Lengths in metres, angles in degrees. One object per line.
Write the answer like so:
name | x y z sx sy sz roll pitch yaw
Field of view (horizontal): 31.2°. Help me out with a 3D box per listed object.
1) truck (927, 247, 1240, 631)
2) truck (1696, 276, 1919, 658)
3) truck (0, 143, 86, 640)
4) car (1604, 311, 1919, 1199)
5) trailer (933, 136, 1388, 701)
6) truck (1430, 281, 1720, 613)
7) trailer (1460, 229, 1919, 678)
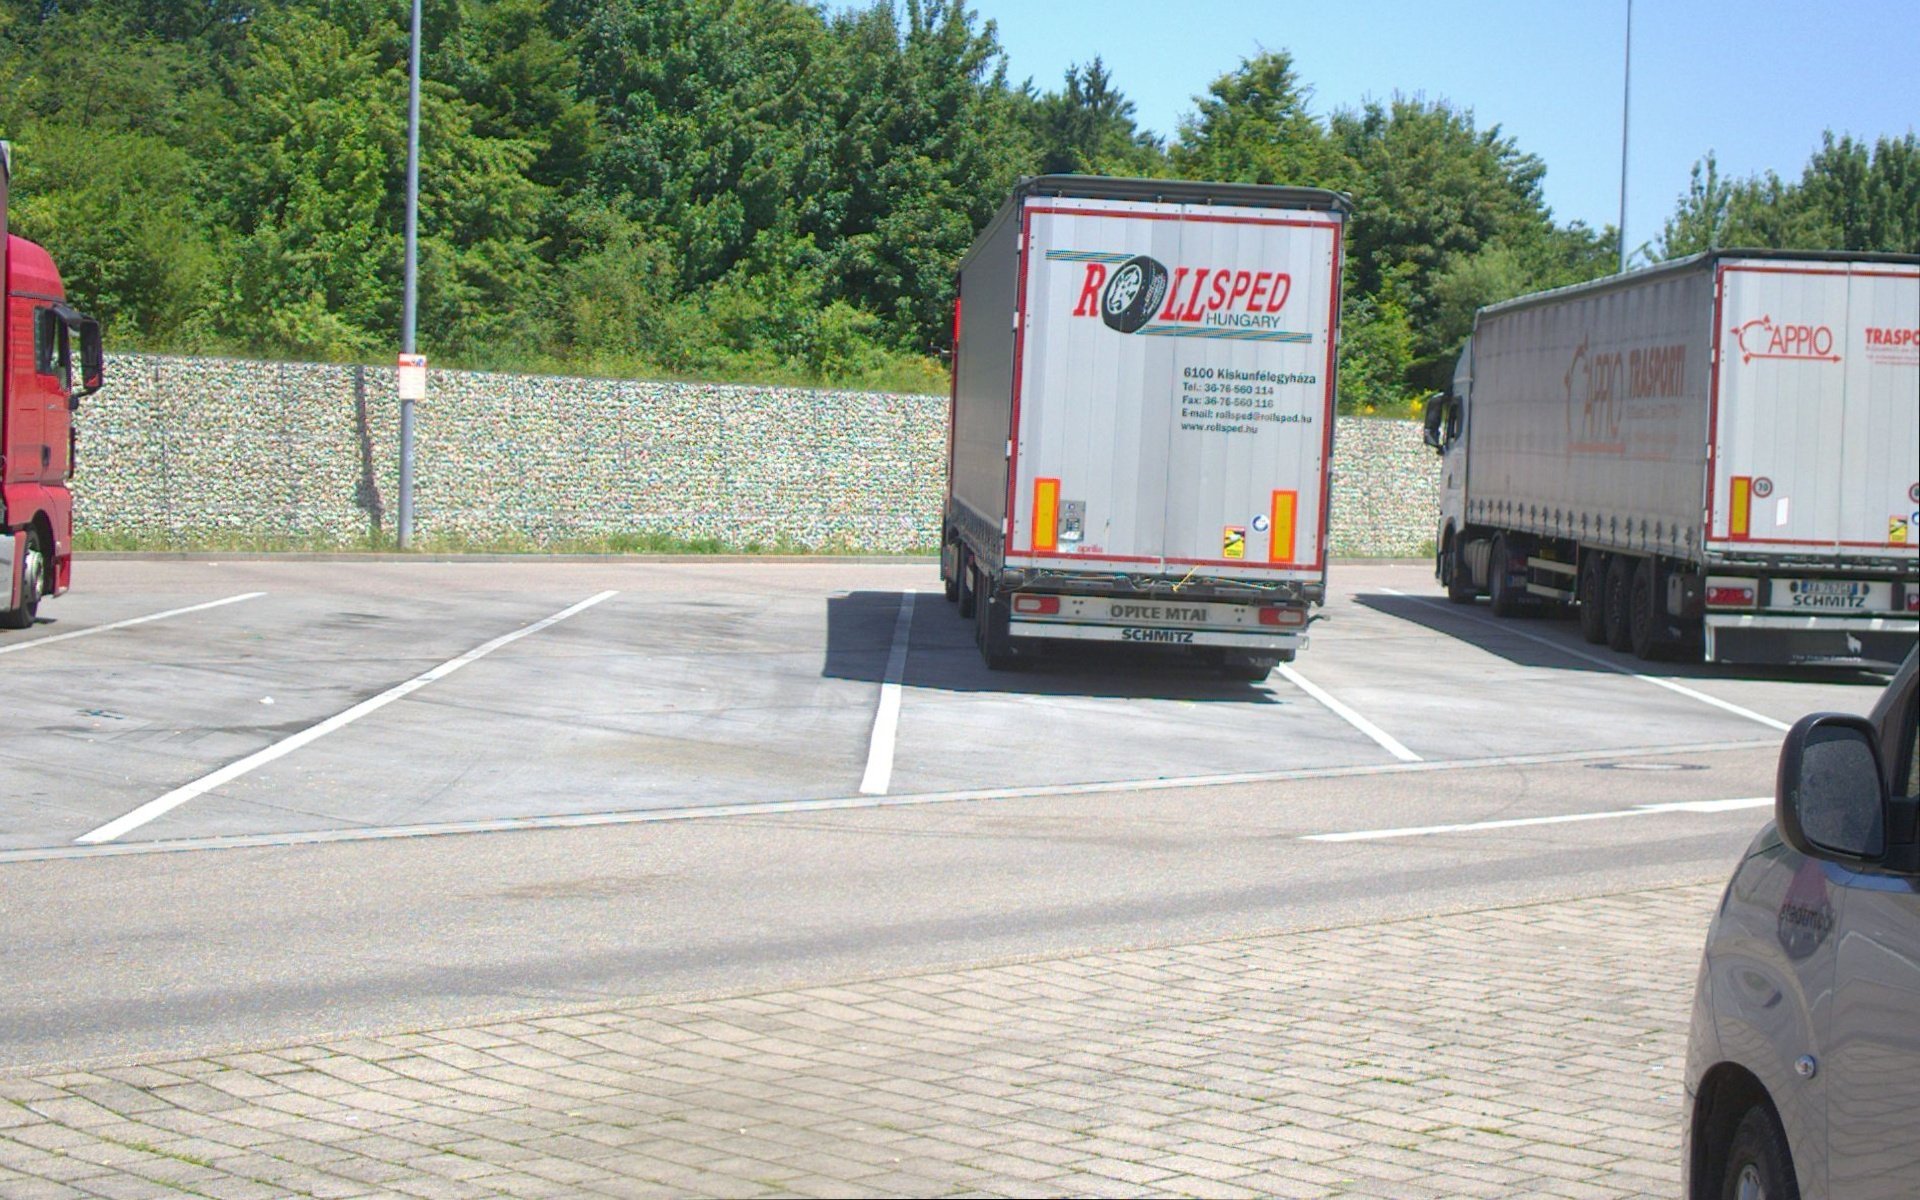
truck | 1.261 -1.858 39.420 3.026 3.915 6.847 2 3 -2
truck | 11.727 -1.476 39.821 2.904 4.110 14.528 3 2 -1
truck | -9.233 -1.704 27.669 2.743 4.067 6.830 1 2 -1
car | 2.136 0.542 3.808 1.825 1.747 4.001 1 2 -4
trailer | 1.476 -1.699 32.652 3.069 4.213 12.810 2 3 -2
truck | 8.024 -1.992 45.484 2.757 4.110 5.285 1 2 -1
trailer | 8.138 -1.575 38.488 2.876 4.110 13.572 1 2 -1
